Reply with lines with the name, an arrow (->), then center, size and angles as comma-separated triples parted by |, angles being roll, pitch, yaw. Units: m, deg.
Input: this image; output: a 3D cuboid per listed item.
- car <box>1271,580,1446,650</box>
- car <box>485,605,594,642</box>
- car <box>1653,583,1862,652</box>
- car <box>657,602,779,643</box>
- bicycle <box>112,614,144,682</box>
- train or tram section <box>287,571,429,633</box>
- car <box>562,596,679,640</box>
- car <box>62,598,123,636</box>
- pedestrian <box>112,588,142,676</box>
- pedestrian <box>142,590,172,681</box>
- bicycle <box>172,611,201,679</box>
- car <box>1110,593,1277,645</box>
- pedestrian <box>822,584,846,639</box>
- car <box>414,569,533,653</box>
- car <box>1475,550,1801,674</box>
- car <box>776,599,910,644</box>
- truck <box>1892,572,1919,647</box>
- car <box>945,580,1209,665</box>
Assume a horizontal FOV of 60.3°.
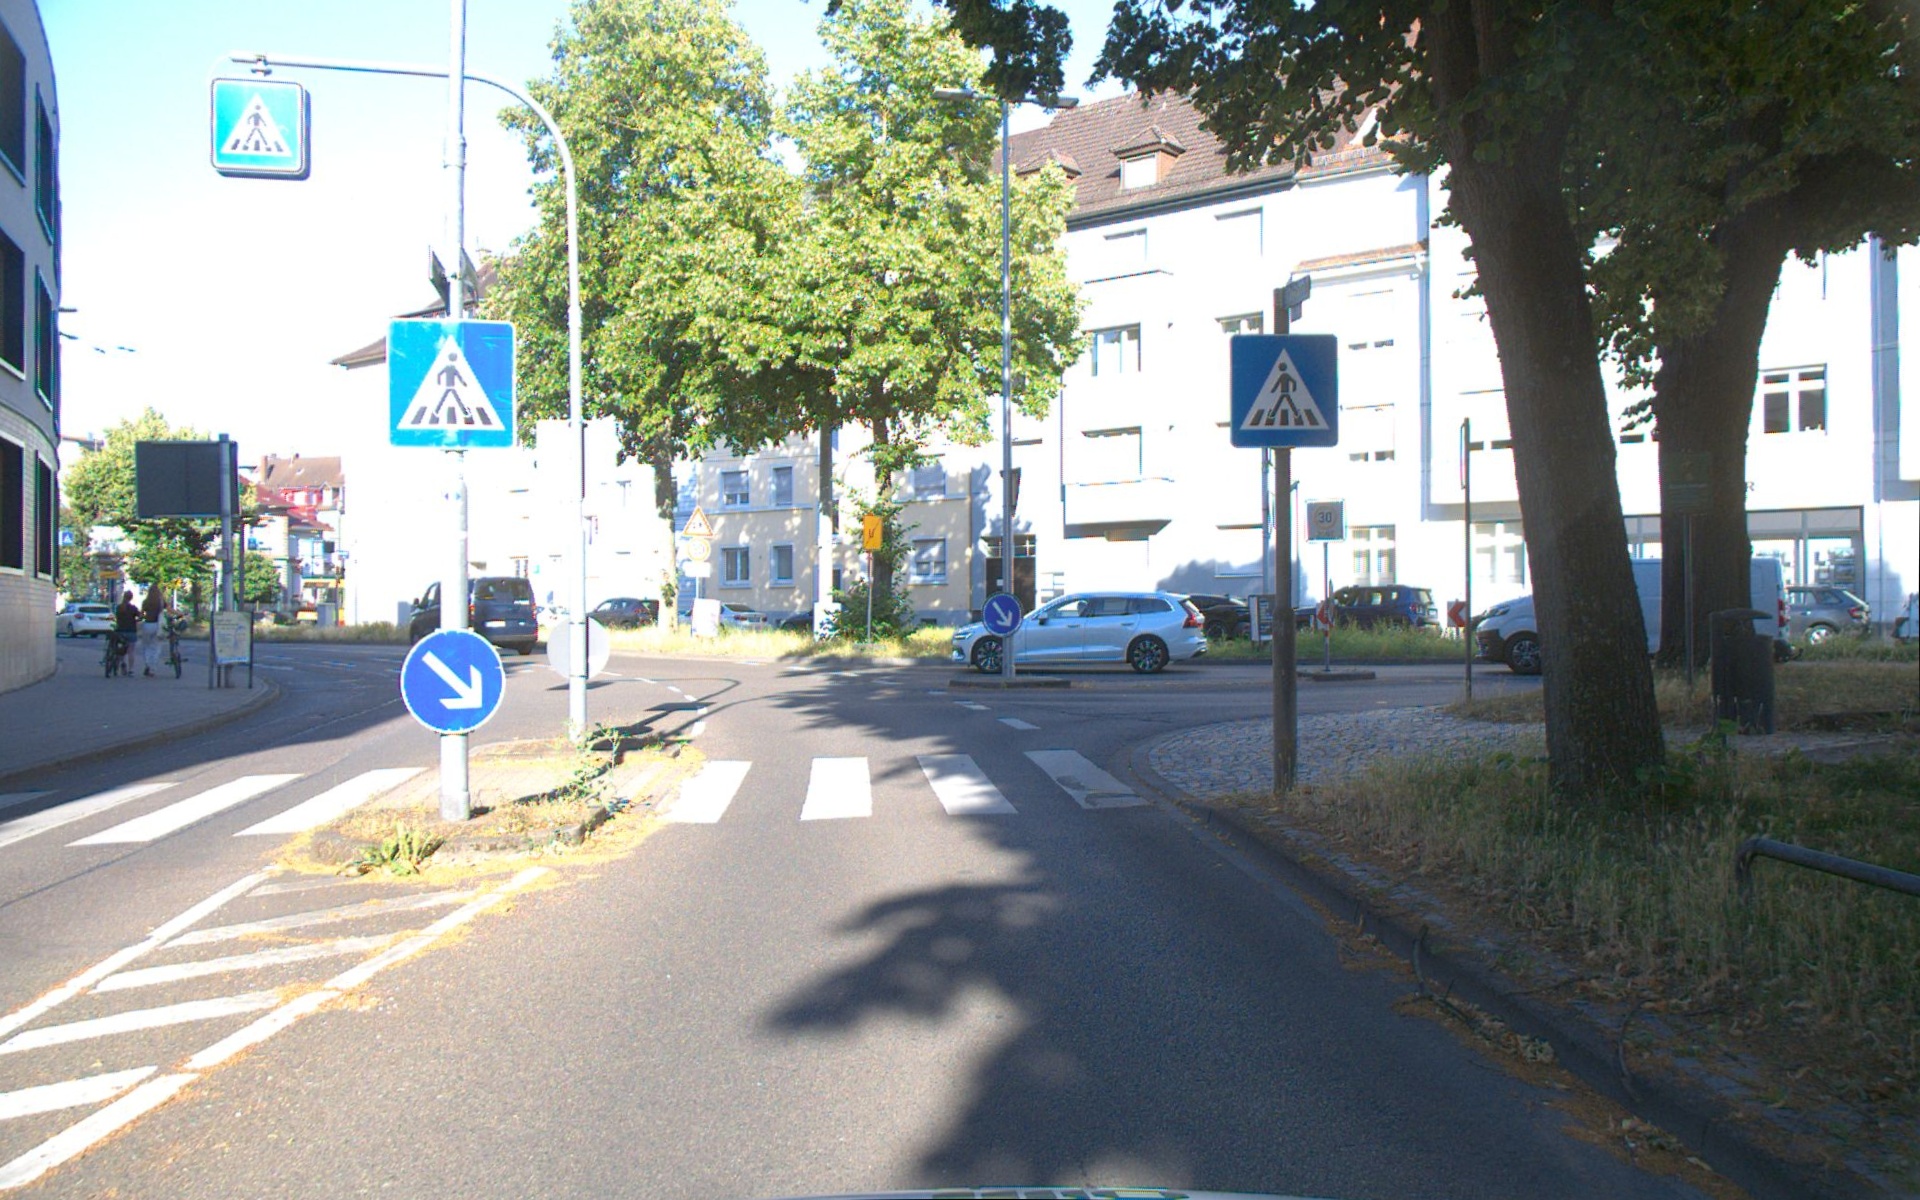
car -> 10.614, 0.359, 44.196 | 4.128, 1.779, 1.991 | 0, 1, 38
car -> -17.120, 0.944, 67.256 | 4.356, 1.410, 1.993 | 0, 1, 35
car -> 18.254, 0.372, 37.924 | 4.019, 1.478, 1.991 | 0, 1, 39
car -> -8.850, 0.796, 60.376 | 4.361, 1.410, 1.991 | 0, 1, 38
bicycle -> -15.488, 0.875, 30.810 | 0.371, 1.187, 1.823 | 4, -1, -24
train or tram section -> -36.956, 0.149, 101.978 | 2.717, 3.618, 9.924 | 0, 0, 18
car -> -13.143, 0.702, 63.967 | 4.552, 1.599, 1.991 | -1, 0, 38
car -> -37.008, 0.703, 70.518 | 1.941, 1.531, 3.642 | -1, 1, -33
pedestrian -> -15.471, 0.588, 30.726 | 0.468, 1.592, 0.597 | -1, 0, -26
pedestrian -> -15.020, 0.661, 30.939 | 0.468, 1.676, 0.597 | -1, 0, -26
bicycle -> -14.505, 0.822, 31.003 | 0.435, 1.199, 1.950 | 1, 0, -26
car -> 6.650, 0.513, 47.337 | 4.361, 1.410, 1.991 | 0, 1, 38
pedestrian -> -4.637, 0.424, 60.989 | 0.637, 2.049, 0.611 | -1, -1, 39
car -> -12.639, 0.285, 42.840 | 1.974, 2.049, 3.956 | 1, -1, -32
car -> 11.078, 0.176, 27.196 | 4.788, 1.886, 1.999 | 0, 0, 24
car -> -3.978, 0.699, 55.978 | 4.361, 1.410, 1.991 | 0, 1, 38
truck -> 22.245, 0.199, 35.131 | 4.019, 1.613, 1.991 | 0, 1, 39
car -> 2.190, 0.390, 30.314 | 4.655, 1.489, 1.856 | 0, 0, 9
